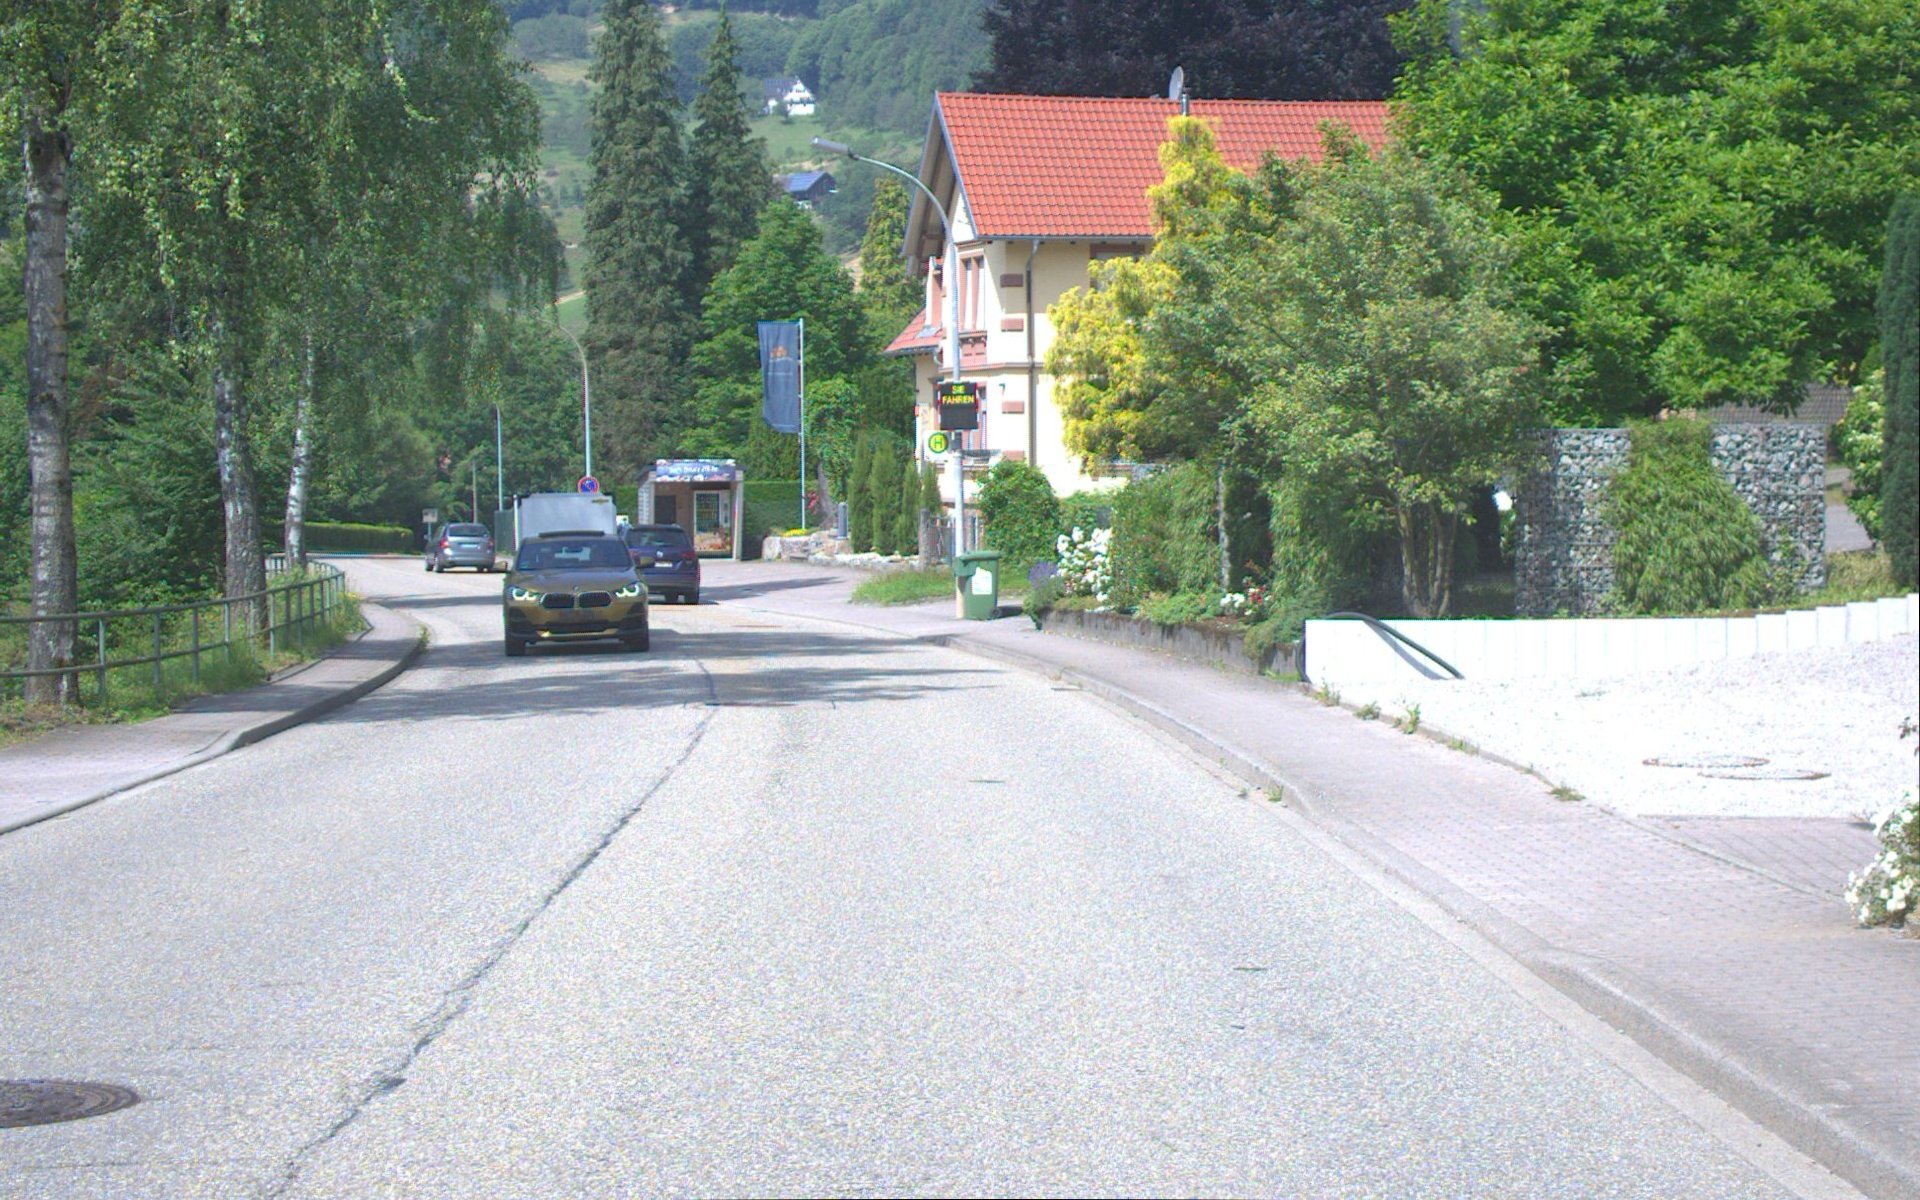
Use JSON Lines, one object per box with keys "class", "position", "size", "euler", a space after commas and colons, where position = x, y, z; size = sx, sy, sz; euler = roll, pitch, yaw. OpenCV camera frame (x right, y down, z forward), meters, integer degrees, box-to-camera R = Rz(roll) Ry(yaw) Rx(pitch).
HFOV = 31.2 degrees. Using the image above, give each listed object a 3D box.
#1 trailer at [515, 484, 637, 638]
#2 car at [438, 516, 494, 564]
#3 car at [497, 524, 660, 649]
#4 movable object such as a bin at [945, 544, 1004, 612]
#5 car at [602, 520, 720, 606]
{"class": "trailer", "position": [-5.427, -0.572, 48.889], "size": [1.466, 2.070, 3.671], "euler": [-1, 1, -3]}
{"class": "car", "position": [-14.691, -1.788, 102.193], "size": [1.628, 1.417, 3.399], "euler": [0, 1, -8]}
{"class": "car", "position": [-4.884, -0.211, 44.462], "size": [1.813, 1.495, 4.150], "euler": [-1, 1, -3]}
{"class": "movable object such as a bin", "position": [0.226, -0.350, 53.664], "size": [0.809, 1.039, 0.579], "euler": [-1, 2, -9]}
{"class": "car", "position": [-6.162, -0.780, 70.560], "size": [1.919, 1.692, 3.789], "euler": [-1, 1, -12]}
